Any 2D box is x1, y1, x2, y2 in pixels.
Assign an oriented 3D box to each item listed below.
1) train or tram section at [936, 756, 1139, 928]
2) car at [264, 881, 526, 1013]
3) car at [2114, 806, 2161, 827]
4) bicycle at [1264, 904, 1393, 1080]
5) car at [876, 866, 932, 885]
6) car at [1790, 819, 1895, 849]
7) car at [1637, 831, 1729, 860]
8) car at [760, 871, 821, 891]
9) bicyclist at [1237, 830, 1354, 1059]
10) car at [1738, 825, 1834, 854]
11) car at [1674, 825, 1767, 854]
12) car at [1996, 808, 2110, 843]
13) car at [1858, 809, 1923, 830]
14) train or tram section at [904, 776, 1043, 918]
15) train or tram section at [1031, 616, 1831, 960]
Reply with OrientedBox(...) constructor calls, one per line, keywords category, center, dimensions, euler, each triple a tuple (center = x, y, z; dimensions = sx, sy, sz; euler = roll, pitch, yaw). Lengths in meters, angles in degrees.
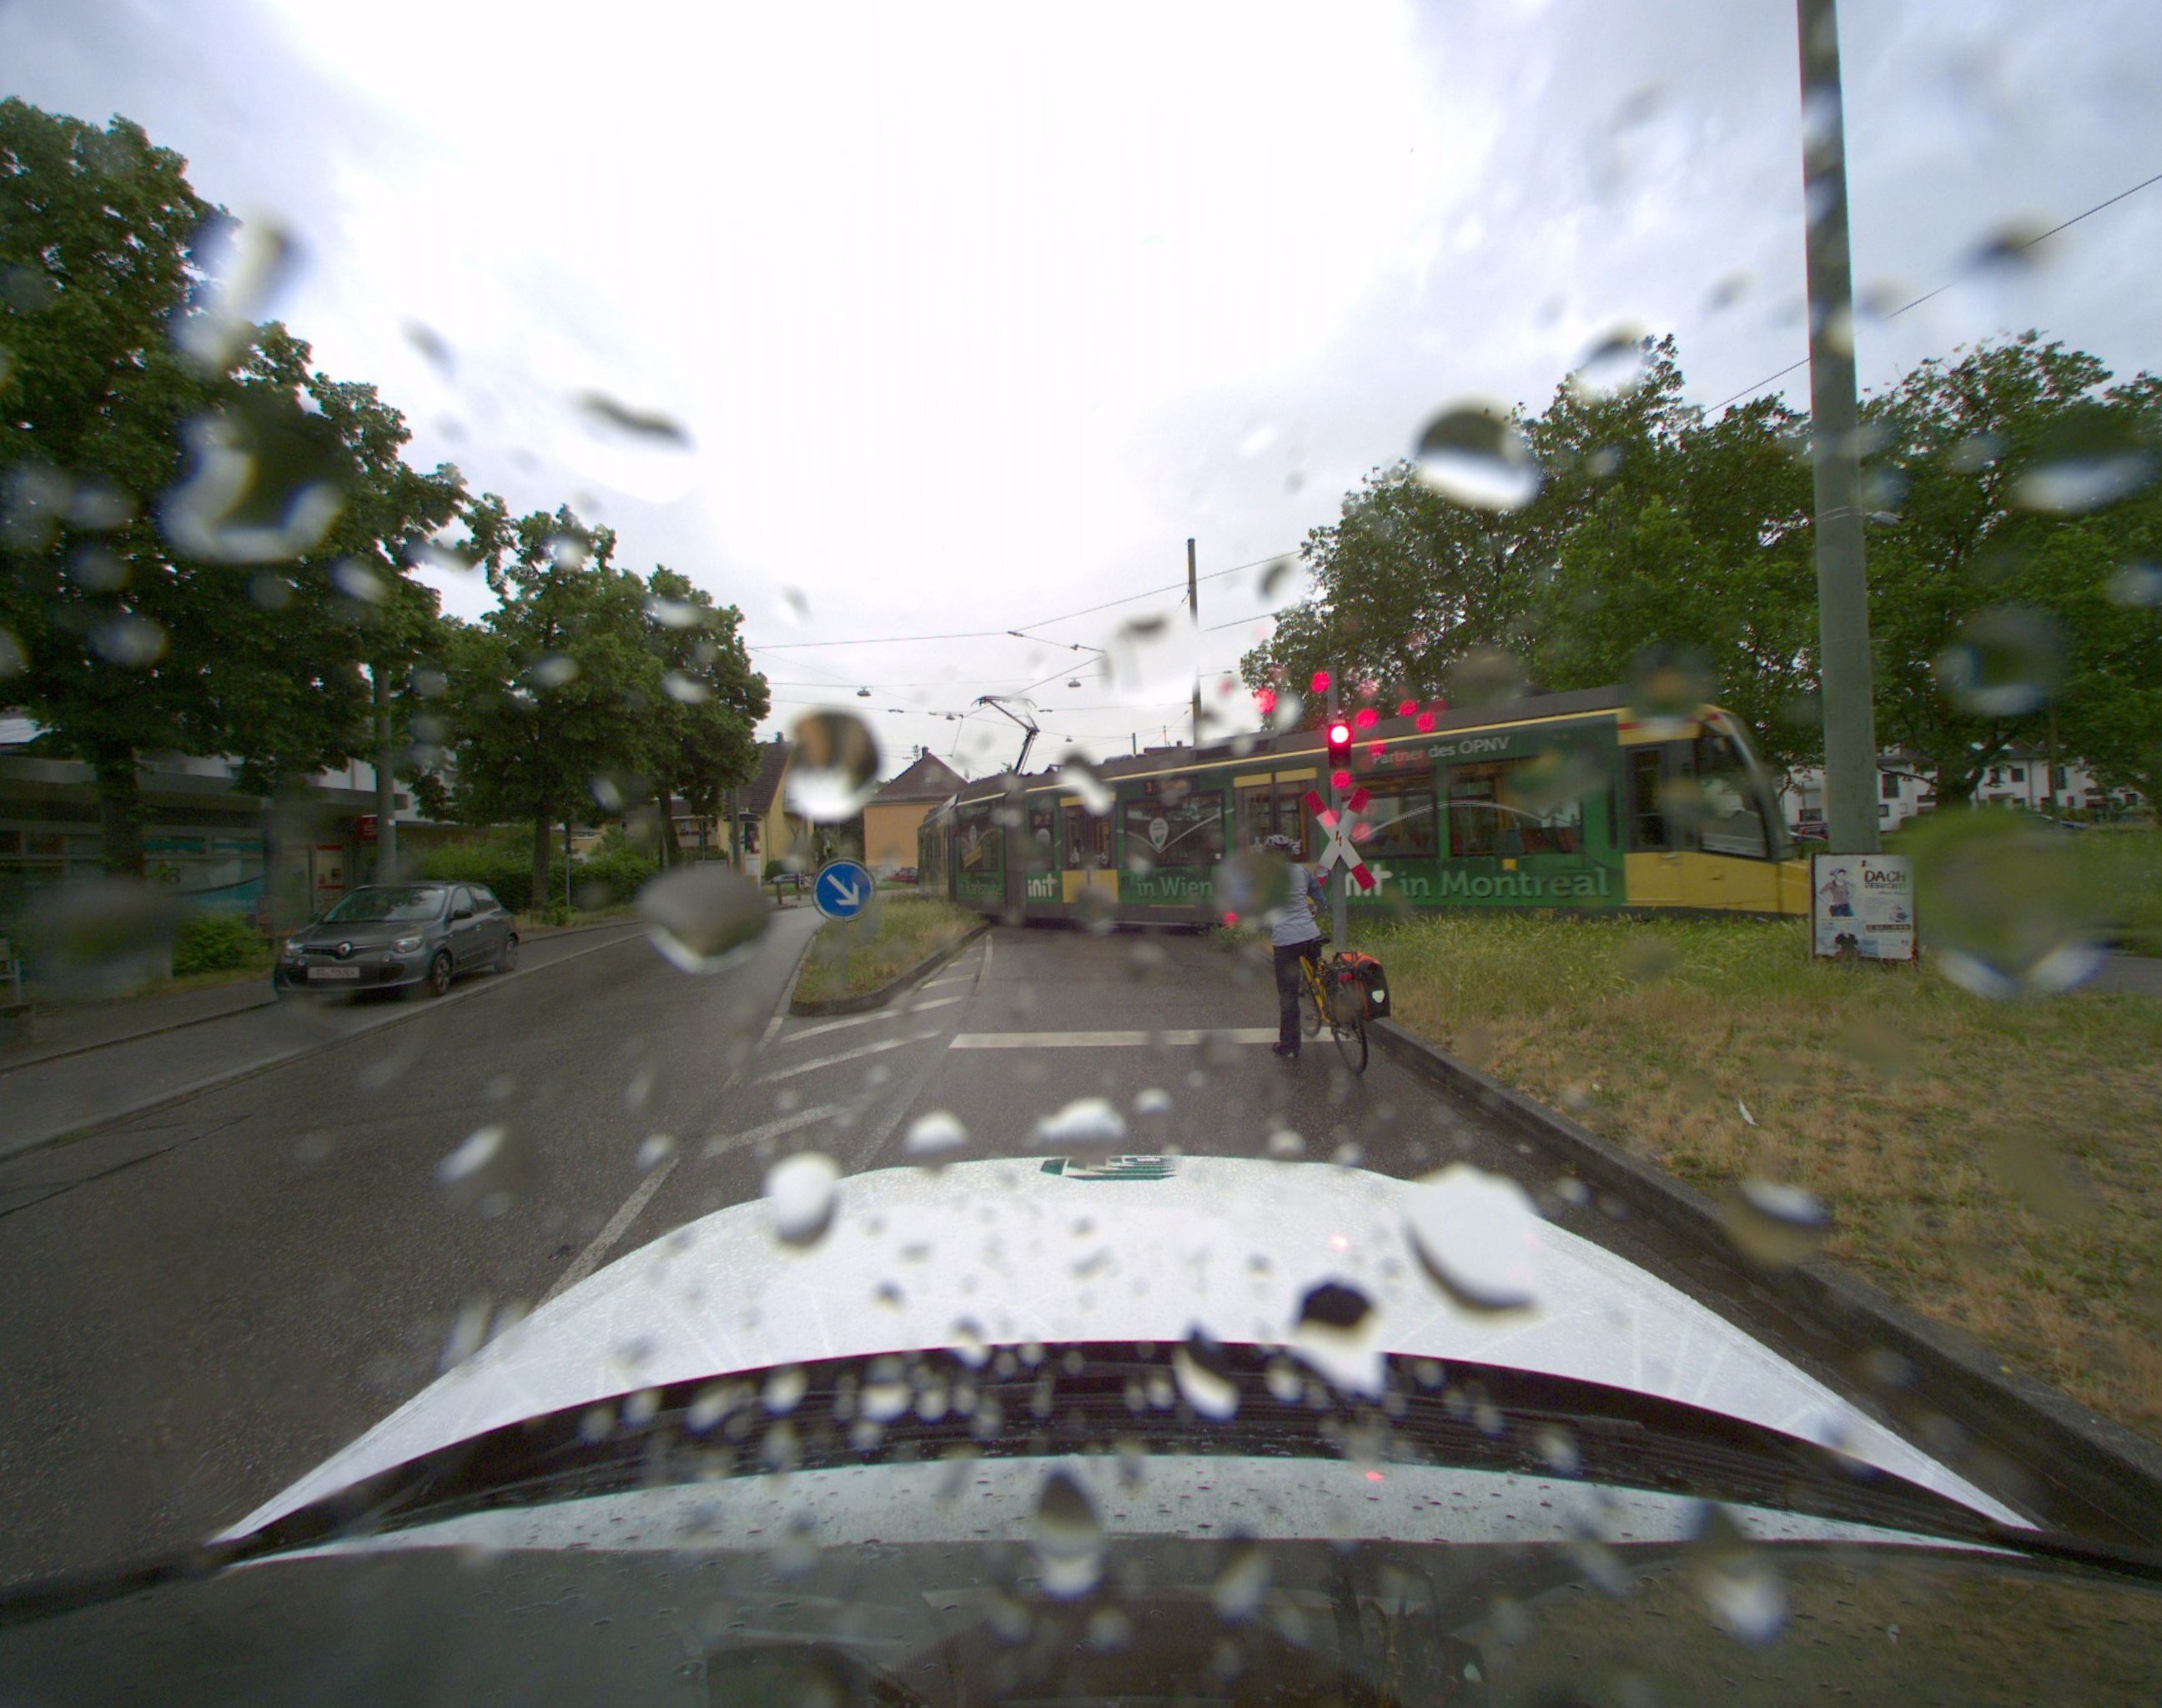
OrientedBox(category="train or tram section", center=(-1.218, -0.254, 19.642), dimensions=(2.779, 3.553, 4.938), euler=(-2, 0, -32))
OrientedBox(category="car", center=(-9.684, 1.197, 11.882), dimensions=(1.621, 1.496, 3.645), euler=(0, -1, -18))
OrientedBox(category="car", center=(89.735, -3.161, 68.327), dimensions=(3.670, 1.660, 1.891), euler=(0, -1, 2))
OrientedBox(category="bicycle", center=(1.798, 0.948, 6.141), dimensions=(0.444, 1.004, 1.728), euler=(-2, 0, 1))
OrientedBox(category="car", center=(-13.653, 1.657, 63.076), dimensions=(3.979, 1.456, 1.831), euler=(0, -1, -5))
OrientedBox(category="car", center=(42.634, -1.089, 45.682), dimensions=(1.814, 1.495, 3.881), euler=(0, -1, -27))
OrientedBox(category="car", center=(33.210, -0.455, 44.991), dimensions=(1.821, 1.495, 3.867), euler=(0, -1, -44))
OrientedBox(category="car", center=(-22.099, 2.036, 62.031), dimensions=(3.979, 1.456, 1.831), euler=(0, -1, -5))
OrientedBox(category="bicyclist", center=(1.613, 0.649, 6.246), dimensions=(0.665, 1.626, 0.853), euler=(0, -1, 1))
OrientedBox(category="car", center=(39.271, -0.781, 45.409), dimensions=(1.821, 1.495, 3.867), euler=(0, -1, -44))
OrientedBox(category="car", center=(35.713, -0.754, 45.521), dimensions=(1.821, 1.495, 3.867), euler=(0, -1, -44))
OrientedBox(category="car", center=(54.641, -1.577, 45.858), dimensions=(1.815, 1.765, 3.879), euler=(0, -1, -29))
OrientedBox(category="car", center=(70.006, -2.998, 70.451), dimensions=(3.670, 1.660, 1.891), euler=(0, -1, 2))
OrientedBox(category="train or tram section", center=(-4.107, -0.100, 27.250), dimensions=(2.766, 3.553, 13.062), euler=(-2, 0, -15))
OrientedBox(category="train or tram section", center=(4.247, -0.511, 13.675), dimensions=(2.786, 3.553, 12.052), euler=(-2, -1, -45))
